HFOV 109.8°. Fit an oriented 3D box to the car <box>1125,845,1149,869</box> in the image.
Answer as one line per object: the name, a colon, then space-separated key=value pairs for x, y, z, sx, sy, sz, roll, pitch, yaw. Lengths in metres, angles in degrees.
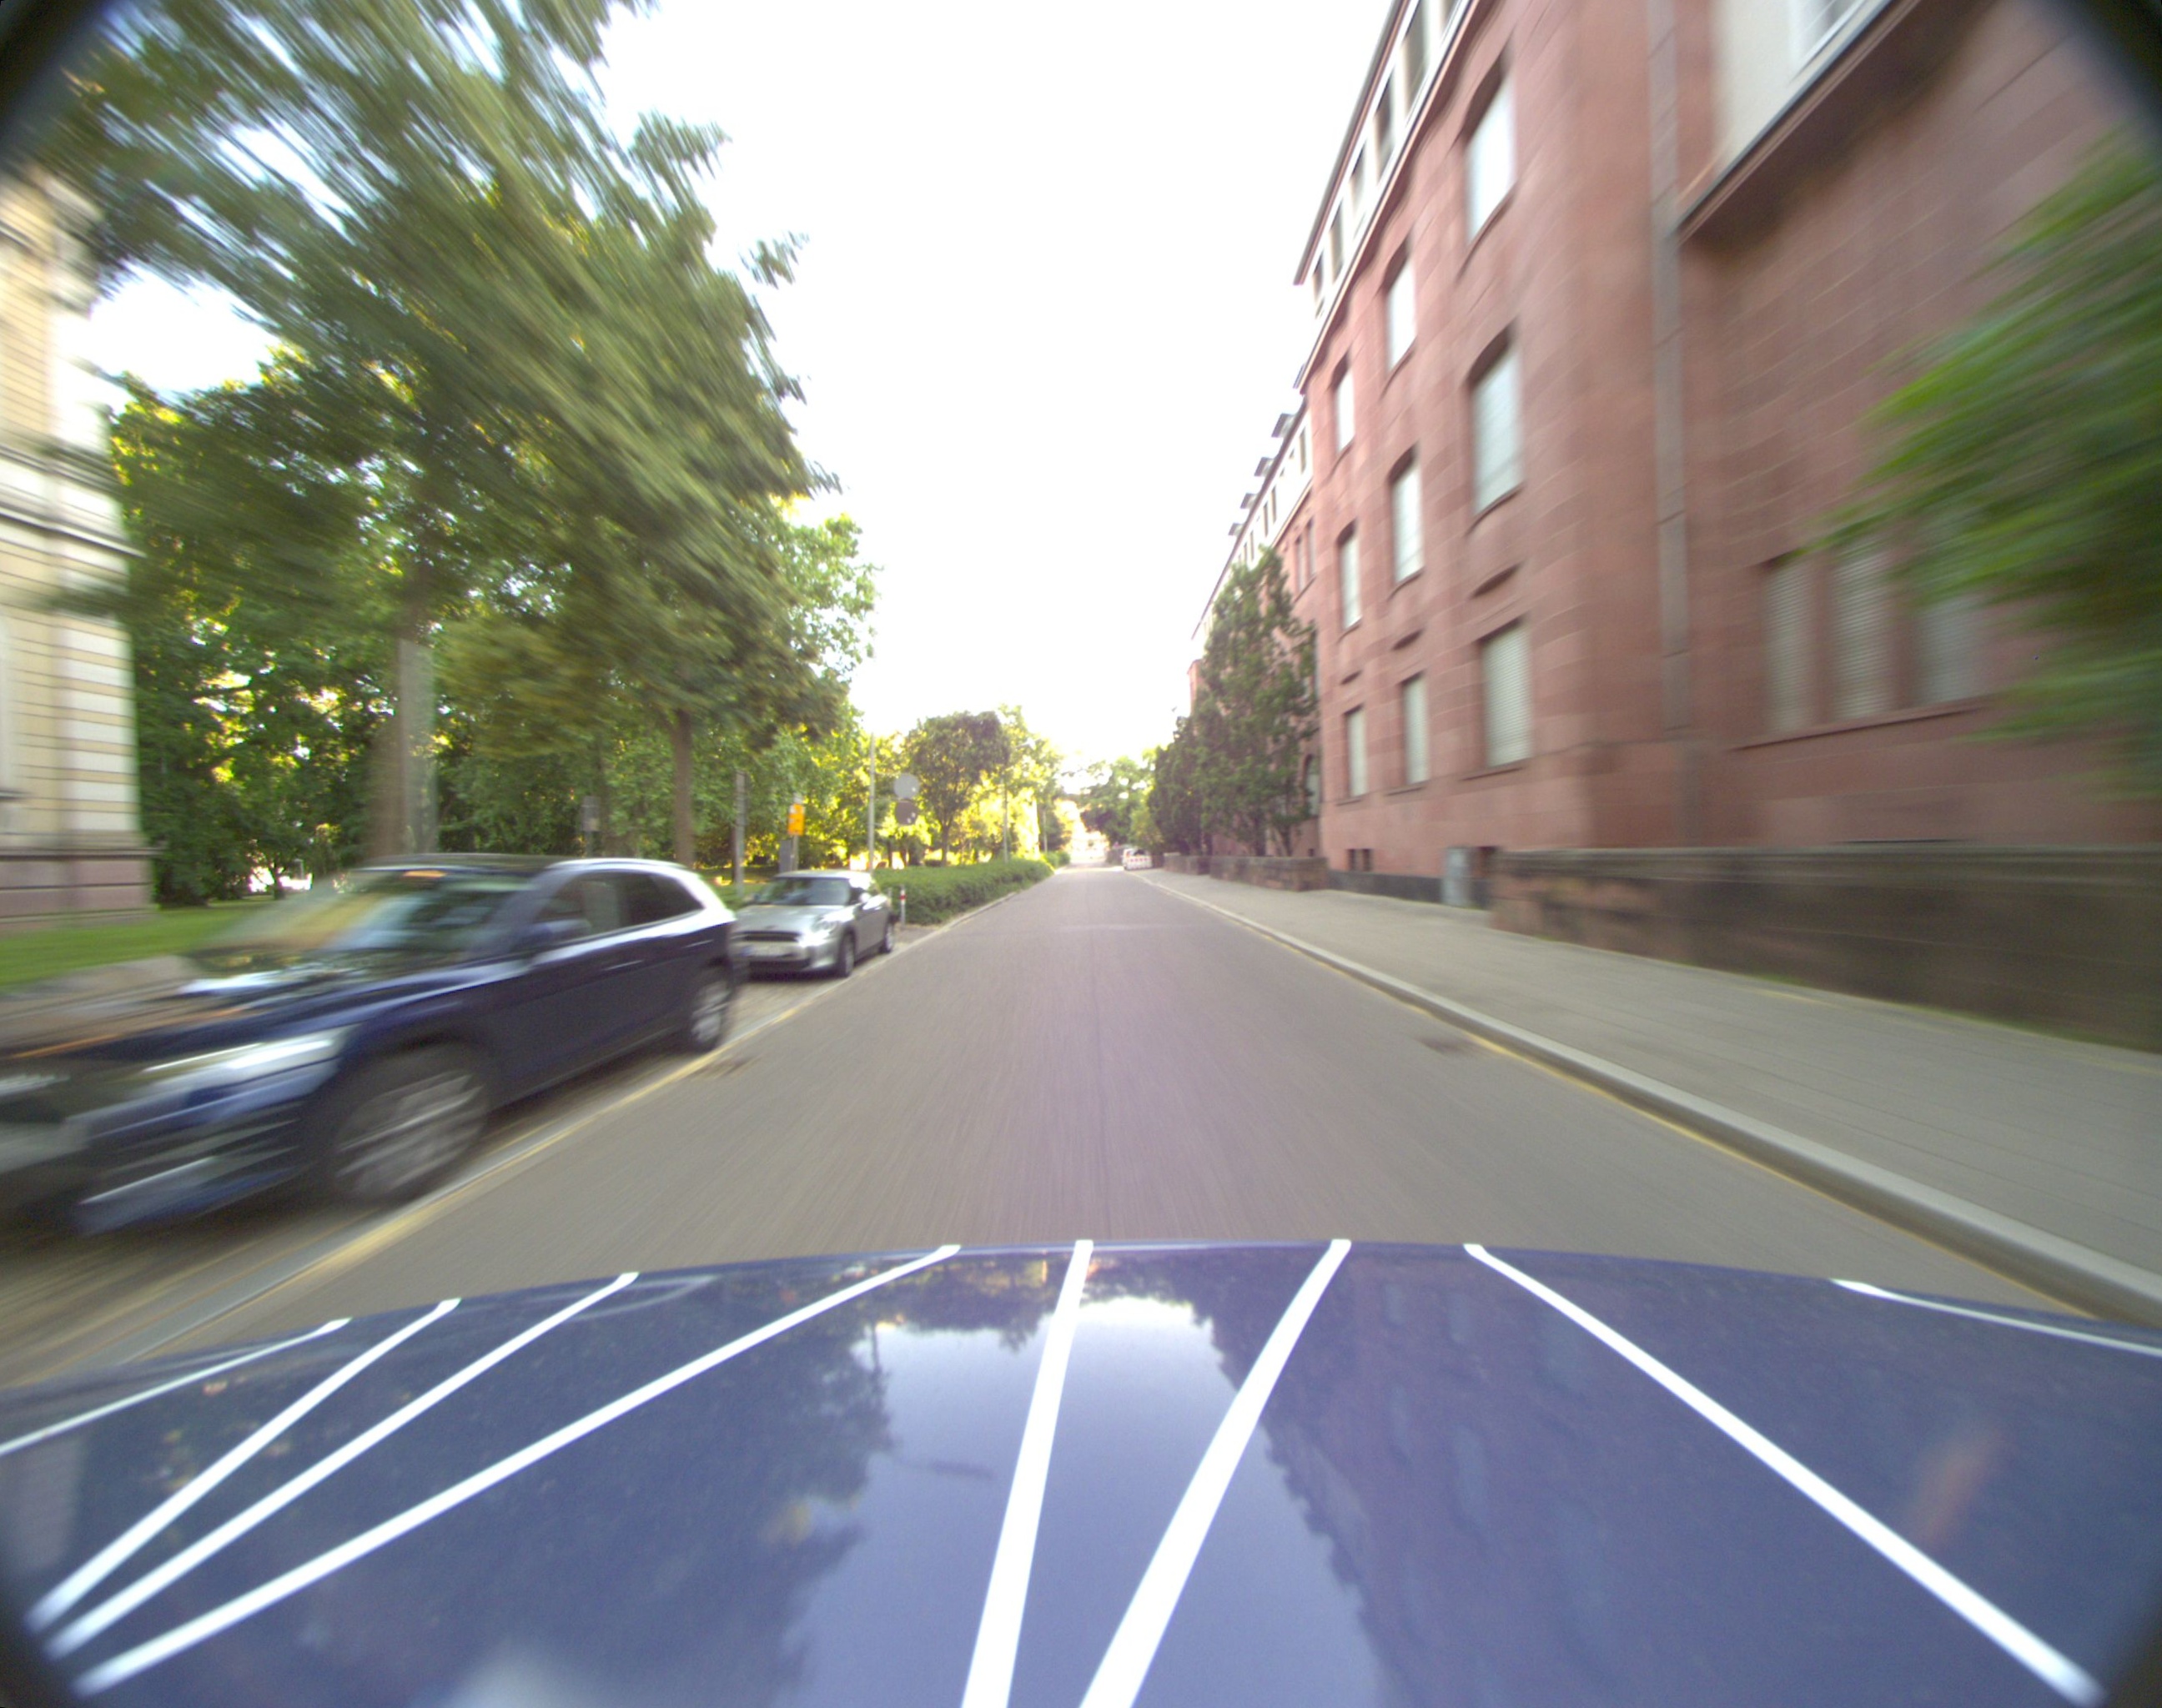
car: x=5.151 y=0.256 z=70.742 sx=1.886 sy=2.040 sz=4.324 roll=-2 pitch=1 yaw=1

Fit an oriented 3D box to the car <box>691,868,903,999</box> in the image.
car: x=-3.983 y=1.020 z=11.406 sx=1.728 sy=1.430 sz=3.998 roll=-2 pitch=1 yaw=-2

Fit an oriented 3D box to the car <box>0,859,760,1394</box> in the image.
car: x=-4.073 y=0.964 z=4.914 sx=1.886 sy=1.678 sz=4.694 roll=-2 pitch=1 yaw=1
